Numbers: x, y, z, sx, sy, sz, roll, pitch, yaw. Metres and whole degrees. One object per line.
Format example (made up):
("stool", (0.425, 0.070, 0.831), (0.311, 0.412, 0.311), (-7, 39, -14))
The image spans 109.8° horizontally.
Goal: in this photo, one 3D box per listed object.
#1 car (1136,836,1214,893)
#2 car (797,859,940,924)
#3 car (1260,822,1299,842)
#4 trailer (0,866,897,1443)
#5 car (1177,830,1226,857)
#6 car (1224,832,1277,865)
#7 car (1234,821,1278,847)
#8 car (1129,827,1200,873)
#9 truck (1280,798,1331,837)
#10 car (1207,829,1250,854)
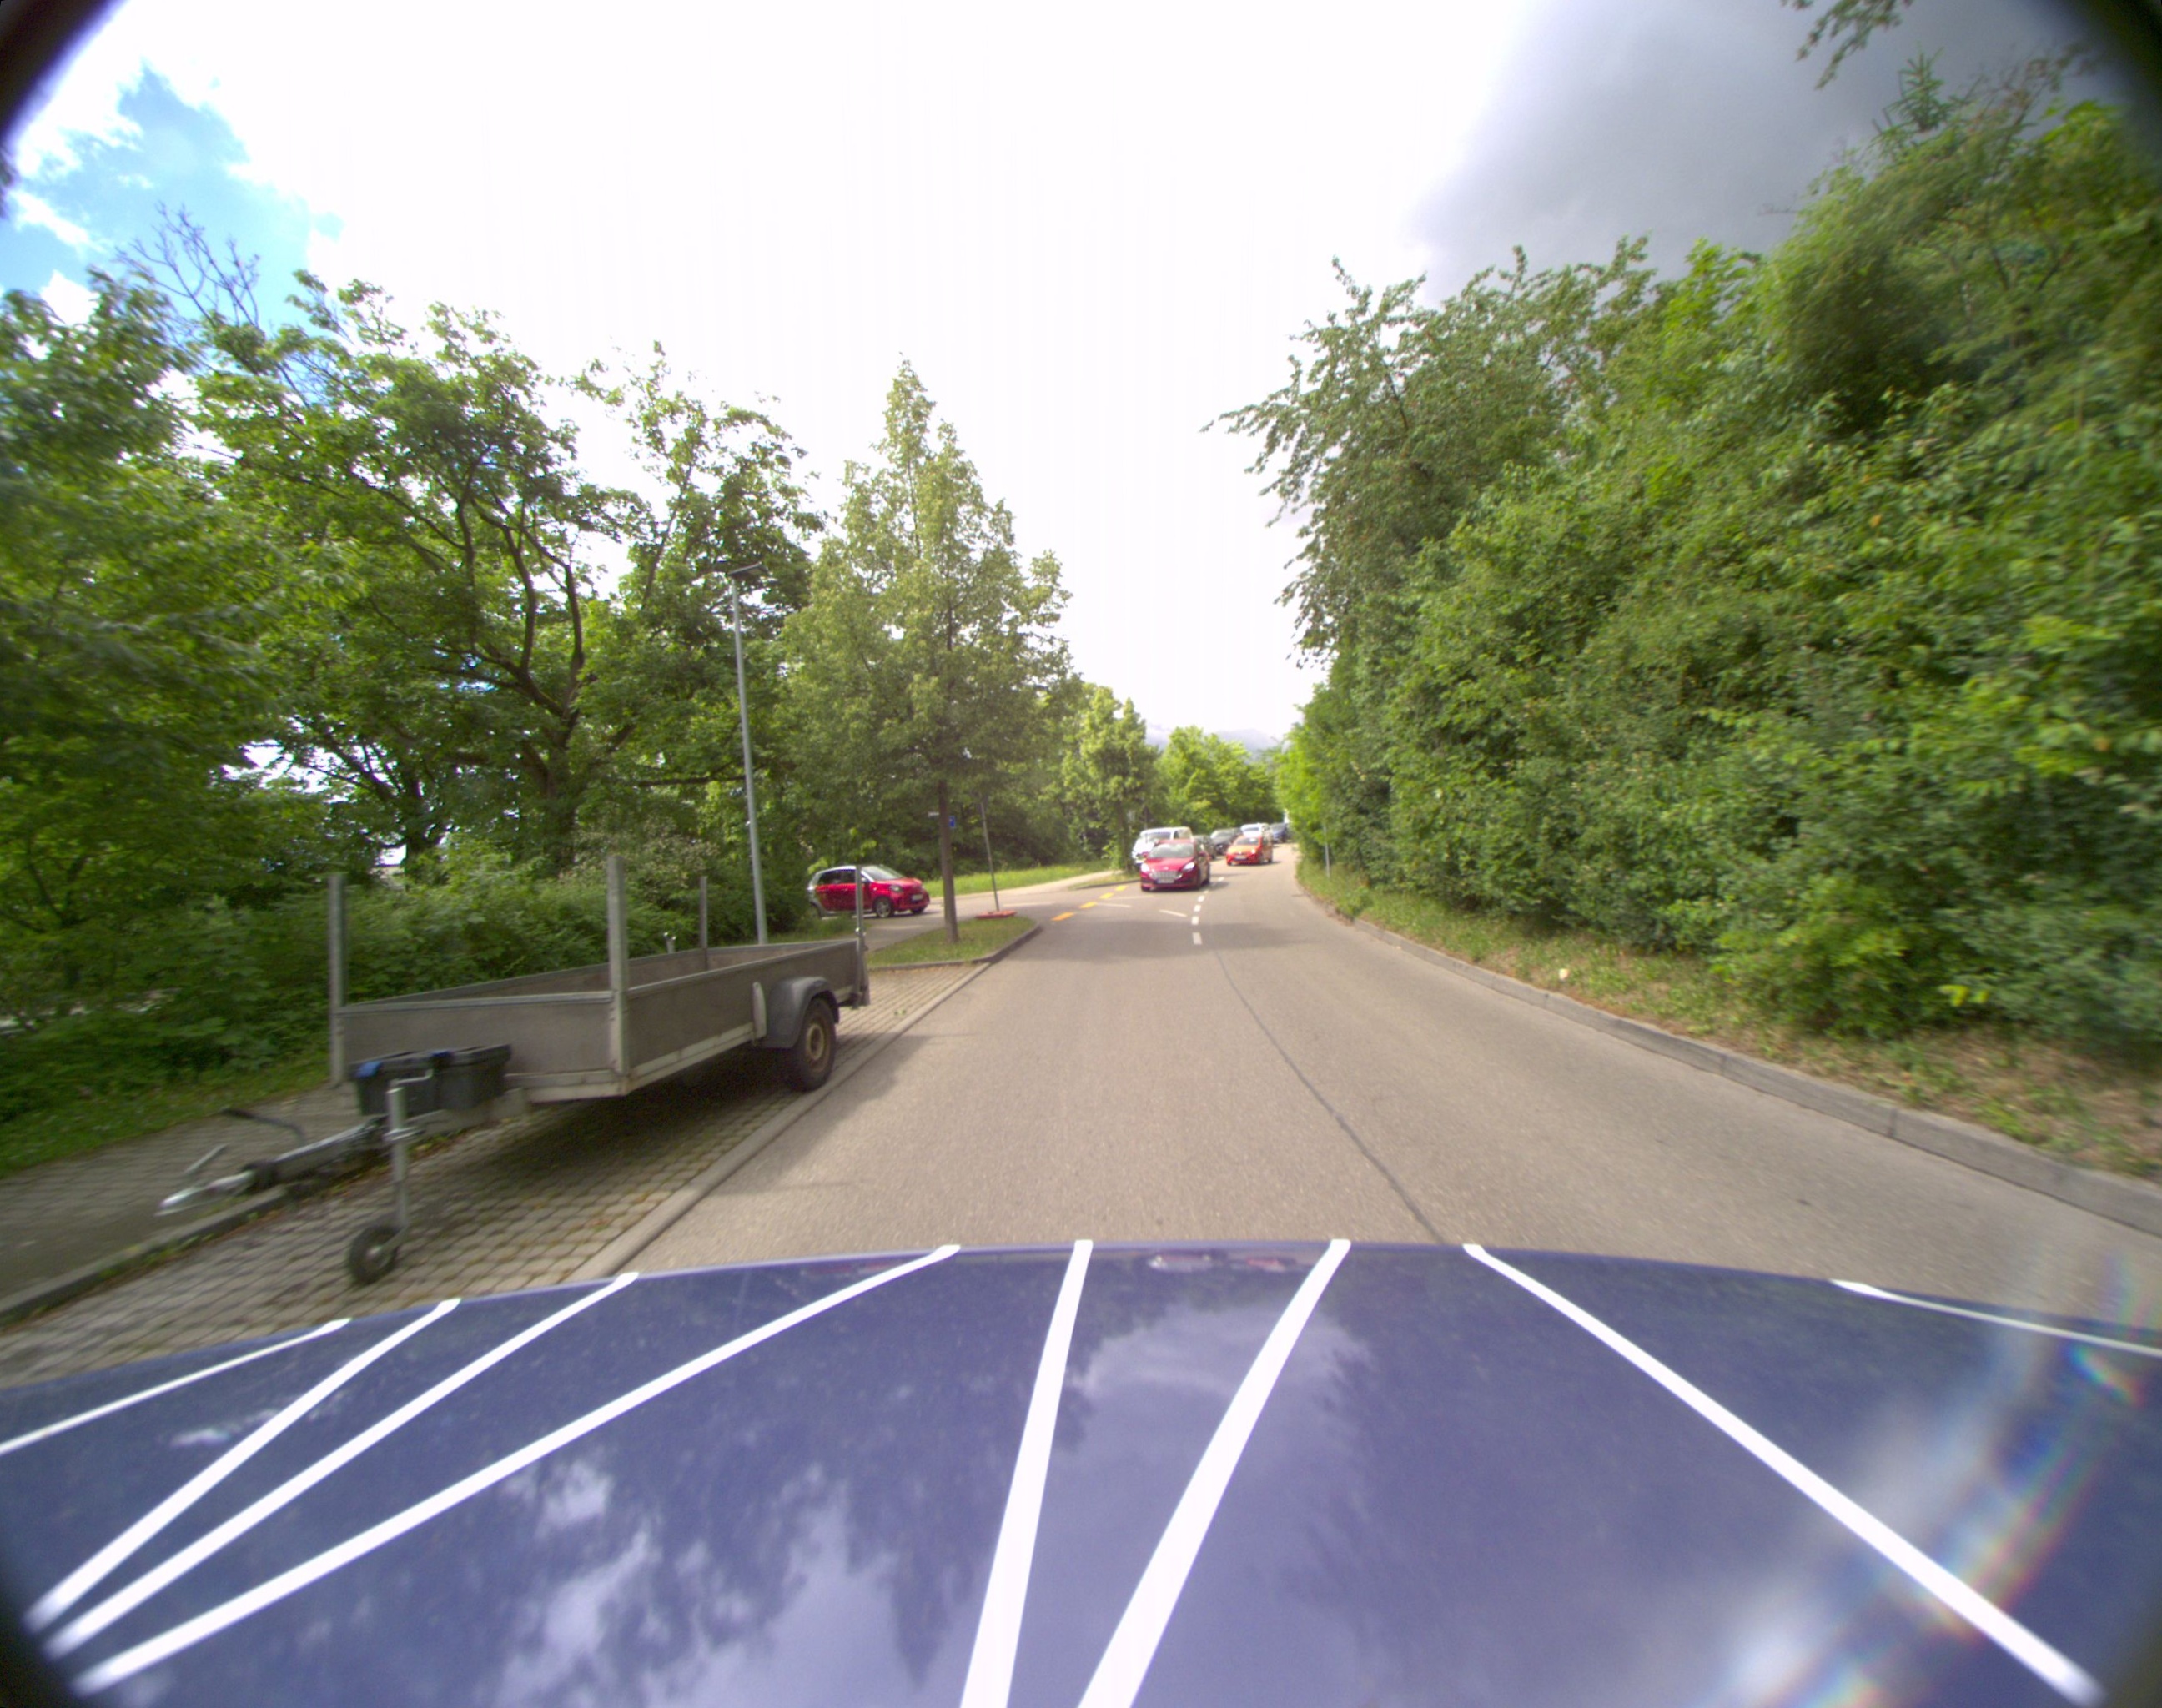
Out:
("car", (3.250, 0.288, 25.521), (1.909, 1.689, 4.391), (-1, 2, 16))
("car", (-5.961, 1.054, 21.384), (3.480, 1.509, 1.654), (-4, 2, 23))
("car", (15.643, -1.750, 59.623), (1.792, 1.374, 4.112), (-2, 1, 32))
("trailer", (-2.694, 0.951, 4.495), (1.814, 1.570, 4.490), (-3, 0, 3))
("car", (6.919, -0.616, 43.367), (1.793, 1.405, 4.111), (-2, 1, 23))
("car", (8.740, -0.312, 38.903), (1.793, 1.405, 4.117), (-1, 3, 25))
("car", (12.457, -1.432, 53.843), (1.792, 1.704, 4.112), (-2, 1, 32))
("car", (4.175, -0.250, 37.141), (1.867, 2.047, 5.434), (-2, 1, 23))
("truck", (19.306, -3.111, 65.139), (2.219, 3.124, 6.158), (-2, 2, 35))
("car", (9.402, -0.816, 48.135), (1.793, 1.405, 4.111), (-2, 1, 23))
